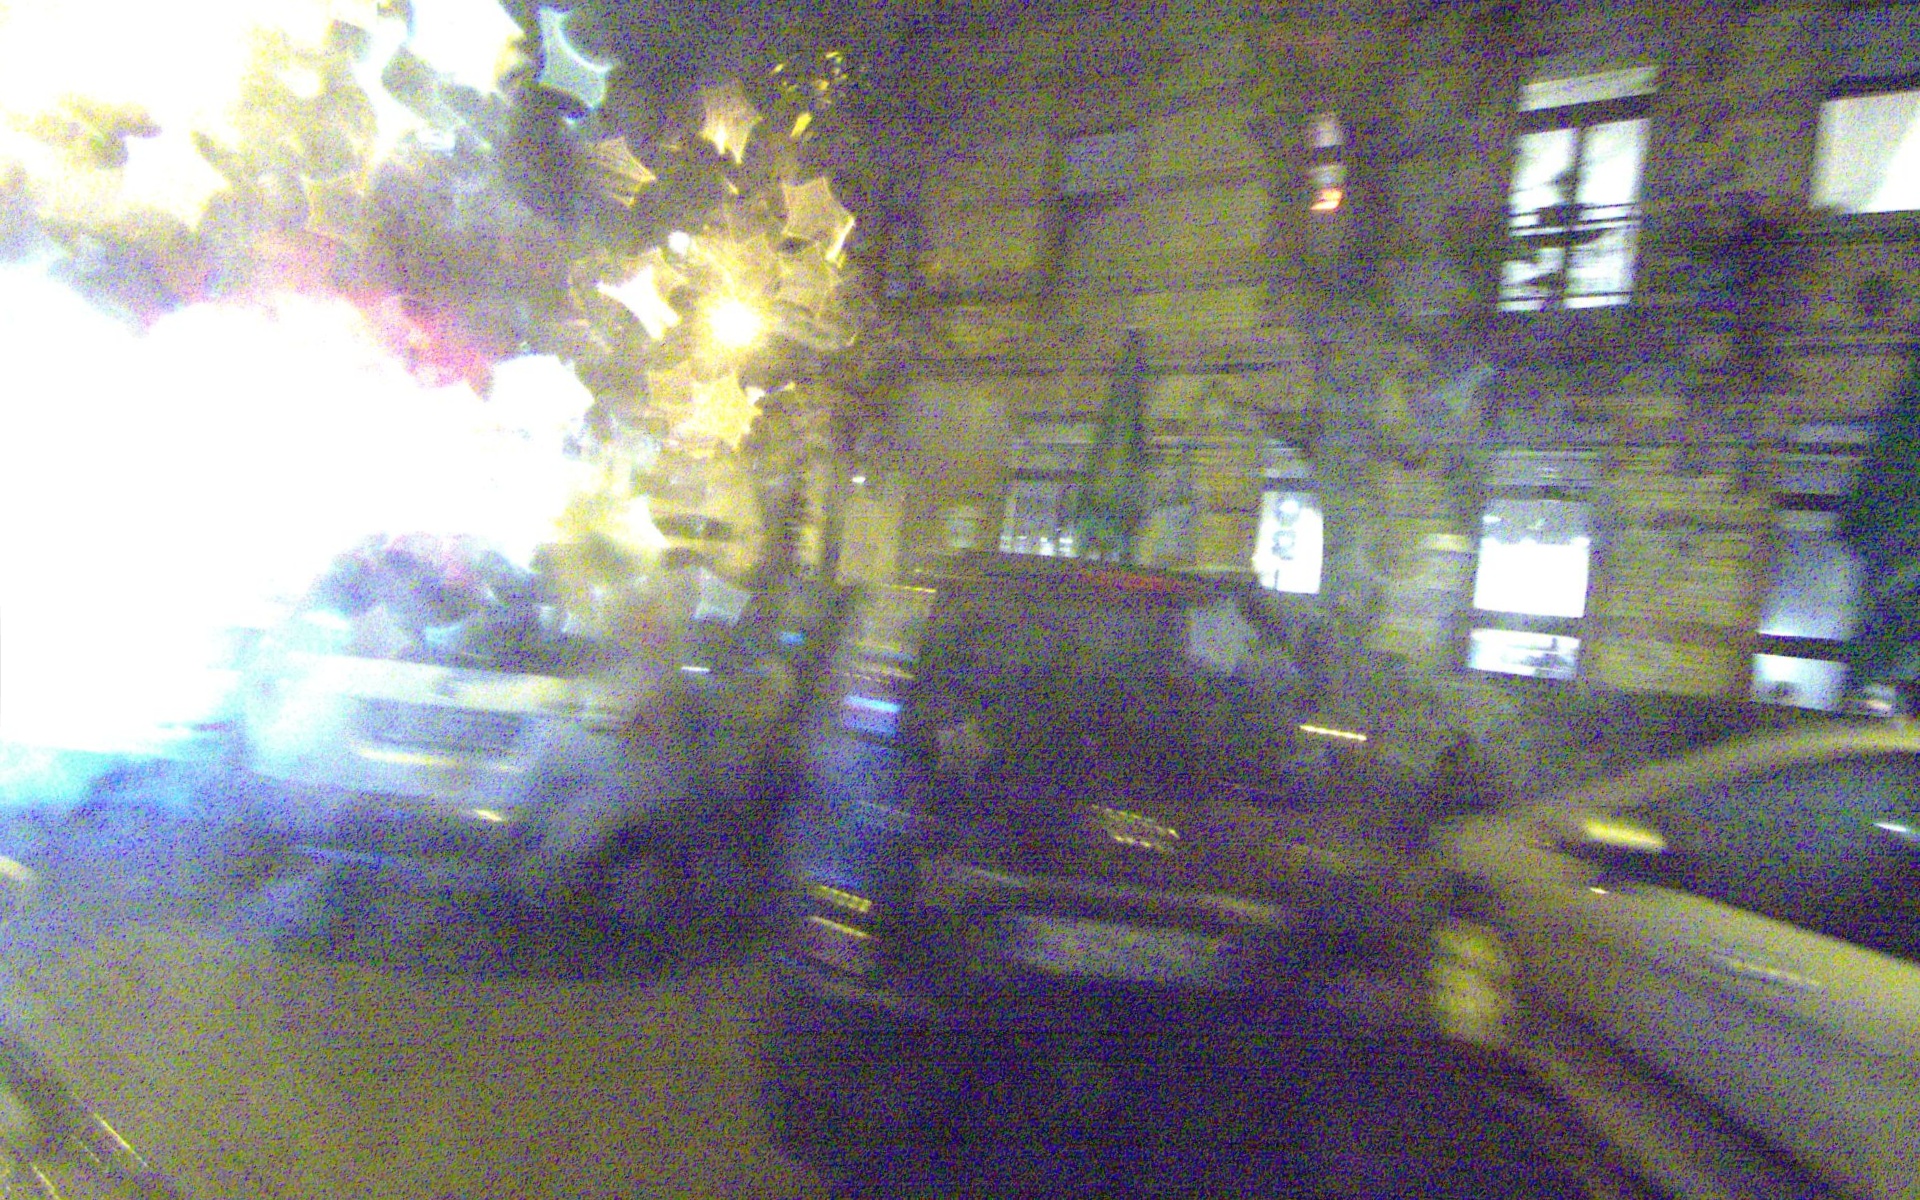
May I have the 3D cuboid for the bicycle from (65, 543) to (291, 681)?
[{"bbox_3d":[-6.532,0.099,8.426,1.615,1.039,0.336,3,0,2],"label":"bicycle"}]

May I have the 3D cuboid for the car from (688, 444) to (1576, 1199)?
[{"bbox_3d":[0.283,0.600,4.001,1.716,1.735,3.789,6,1,-2],"label":"car"}]

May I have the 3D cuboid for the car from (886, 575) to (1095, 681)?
[{"bbox_3d":[0.557,0.590,24.177,1.982,1.912,5.496,8,-1,-35],"label":"car"}]

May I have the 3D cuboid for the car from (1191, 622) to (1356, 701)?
[{"bbox_3d":[9.513,1.848,30.867,1.982,1.783,4.421,8,-1,-35],"label":"car"}]

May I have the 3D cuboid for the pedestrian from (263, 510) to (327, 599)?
[{"bbox_3d":[-14.946,-1.002,22.636,0.867,1.856,0.979,6,0,-22],"label":"pedestrian"}]

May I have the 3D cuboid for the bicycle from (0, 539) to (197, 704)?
[{"bbox_3d":[-6.516,0.132,7.184,1.620,1.040,0.335,7,2,-15],"label":"bicycle"}]

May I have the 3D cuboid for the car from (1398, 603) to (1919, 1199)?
[{"bbox_3d":[2.578,0.930,1.928,1.799,1.618,4.071,6,1,4],"label":"car"}]

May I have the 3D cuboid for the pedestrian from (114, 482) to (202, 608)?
[{"bbox_3d":[-12.218,-0.827,15.329,0.592,1.792,0.824,7,-1,44],"label":"pedestrian"}]

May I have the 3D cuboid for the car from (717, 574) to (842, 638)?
[{"bbox_3d":[-5.917,0.199,32.928,3.632,1.596,1.755,6,-2,31],"label":"car"}]

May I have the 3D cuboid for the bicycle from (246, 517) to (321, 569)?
[{"bbox_3d":[-19.134,-1.596,28.488,1.630,1.187,0.381,9,-3,-30],"label":"bicycle"}]

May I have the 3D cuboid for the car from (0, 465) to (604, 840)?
[{"bbox_3d":[-4.167,0.174,6.676,1.738,1.594,4.261,6,1,4],"label":"car"}]

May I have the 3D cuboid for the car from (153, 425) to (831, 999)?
[{"bbox_3d":[-1.780,0.354,5.186,1.739,1.735,3.736,6,1,-2],"label":"car"}]

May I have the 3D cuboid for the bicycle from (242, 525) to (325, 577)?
[{"bbox_3d":[-18.513,-1.336,27.565,1.767,1.188,0.381,7,0,-30],"label":"bicycle"}]
